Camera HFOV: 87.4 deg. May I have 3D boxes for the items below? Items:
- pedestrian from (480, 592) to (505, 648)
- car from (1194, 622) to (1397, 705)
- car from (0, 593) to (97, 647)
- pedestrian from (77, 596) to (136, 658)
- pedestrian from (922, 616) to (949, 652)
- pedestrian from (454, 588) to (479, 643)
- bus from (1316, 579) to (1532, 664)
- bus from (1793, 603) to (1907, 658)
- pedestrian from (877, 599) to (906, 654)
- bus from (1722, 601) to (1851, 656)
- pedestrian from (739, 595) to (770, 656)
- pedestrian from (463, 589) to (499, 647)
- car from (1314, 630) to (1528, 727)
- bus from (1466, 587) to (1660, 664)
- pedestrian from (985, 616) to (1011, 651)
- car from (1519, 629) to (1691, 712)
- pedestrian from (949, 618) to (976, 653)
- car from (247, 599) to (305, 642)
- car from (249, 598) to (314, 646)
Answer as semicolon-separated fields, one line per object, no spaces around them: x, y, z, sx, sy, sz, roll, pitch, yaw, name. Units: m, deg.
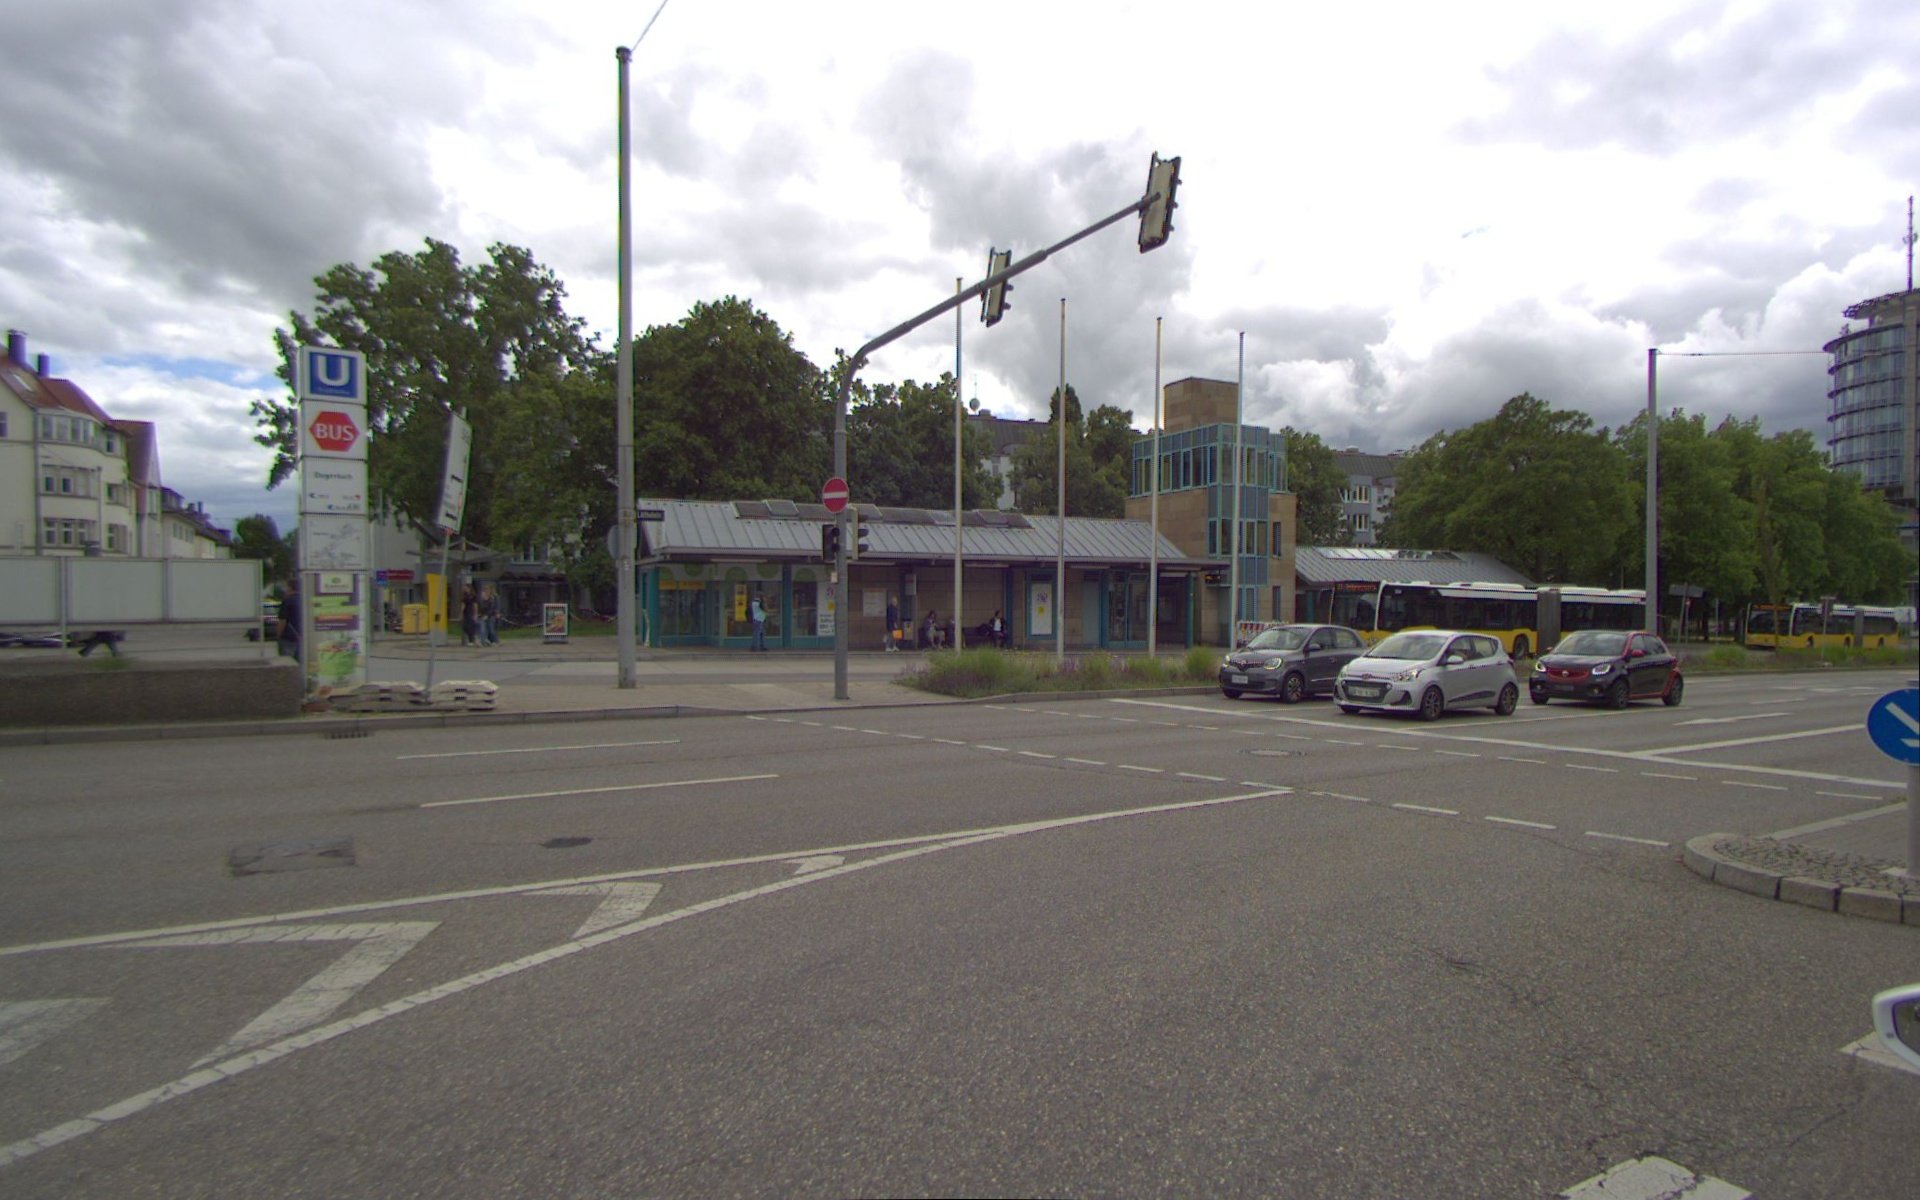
-13.413;0.576;28.839;0.475;1.568;0.384;1;0;15;pedestrian
6.948;1.279;20.712;3.953;1.528;1.807;2;-1;-30;car
-29.297;0.609;32.269;1.980;1.617;3.960;2;-1;-35;car
-20.798;0.658;24.493;0.981;1.480;0.587;2;0;-31;pedestrian
-0.799;1.091;32.377;0.650;1.136;0.617;2;-1;-29;pedestrian
-14.097;0.442;28.705;0.475;1.568;0.384;1;0;15;pedestrian
18.988;0.889;40.895;9.318;3.174;2.765;2;1;-28;bus
61.737;2.152;69.587;9.797;3.502;3.016;2;1;-31;bus
-2.083;0.814;30.716;0.650;1.671;0.617;2;-1;-29;pedestrian
52.928;1.856;64.227;10.617;3.205;3.067;2;1;-32;bus
-5.700;0.702;27.861;0.650;1.671;0.617;2;-1;-29;pedestrian
-13.336;0.500;27.987;0.520;1.568;0.754;1;0;15;pedestrian
8.179;1.296;17.742;3.750;1.485;1.735;1;0;-33;car
27.097;1.160;45.012;9.176;3.174;2.800;2;1;-26;bus
1.268;1.128;33.498;0.650;1.136;0.617;2;-1;-29;pedestrian
13.365;1.424;20.764;3.730;1.528;1.648;2;-1;-34;car
0.077;1.157;32.787;0.650;1.136;0.617;2;-1;-29;pedestrian
-30.154;0.862;44.218;1.981;1.706;3.959;2;1;-36;car
-26.805;0.845;39.656;1.981;1.706;3.959;2;1;-36;car
